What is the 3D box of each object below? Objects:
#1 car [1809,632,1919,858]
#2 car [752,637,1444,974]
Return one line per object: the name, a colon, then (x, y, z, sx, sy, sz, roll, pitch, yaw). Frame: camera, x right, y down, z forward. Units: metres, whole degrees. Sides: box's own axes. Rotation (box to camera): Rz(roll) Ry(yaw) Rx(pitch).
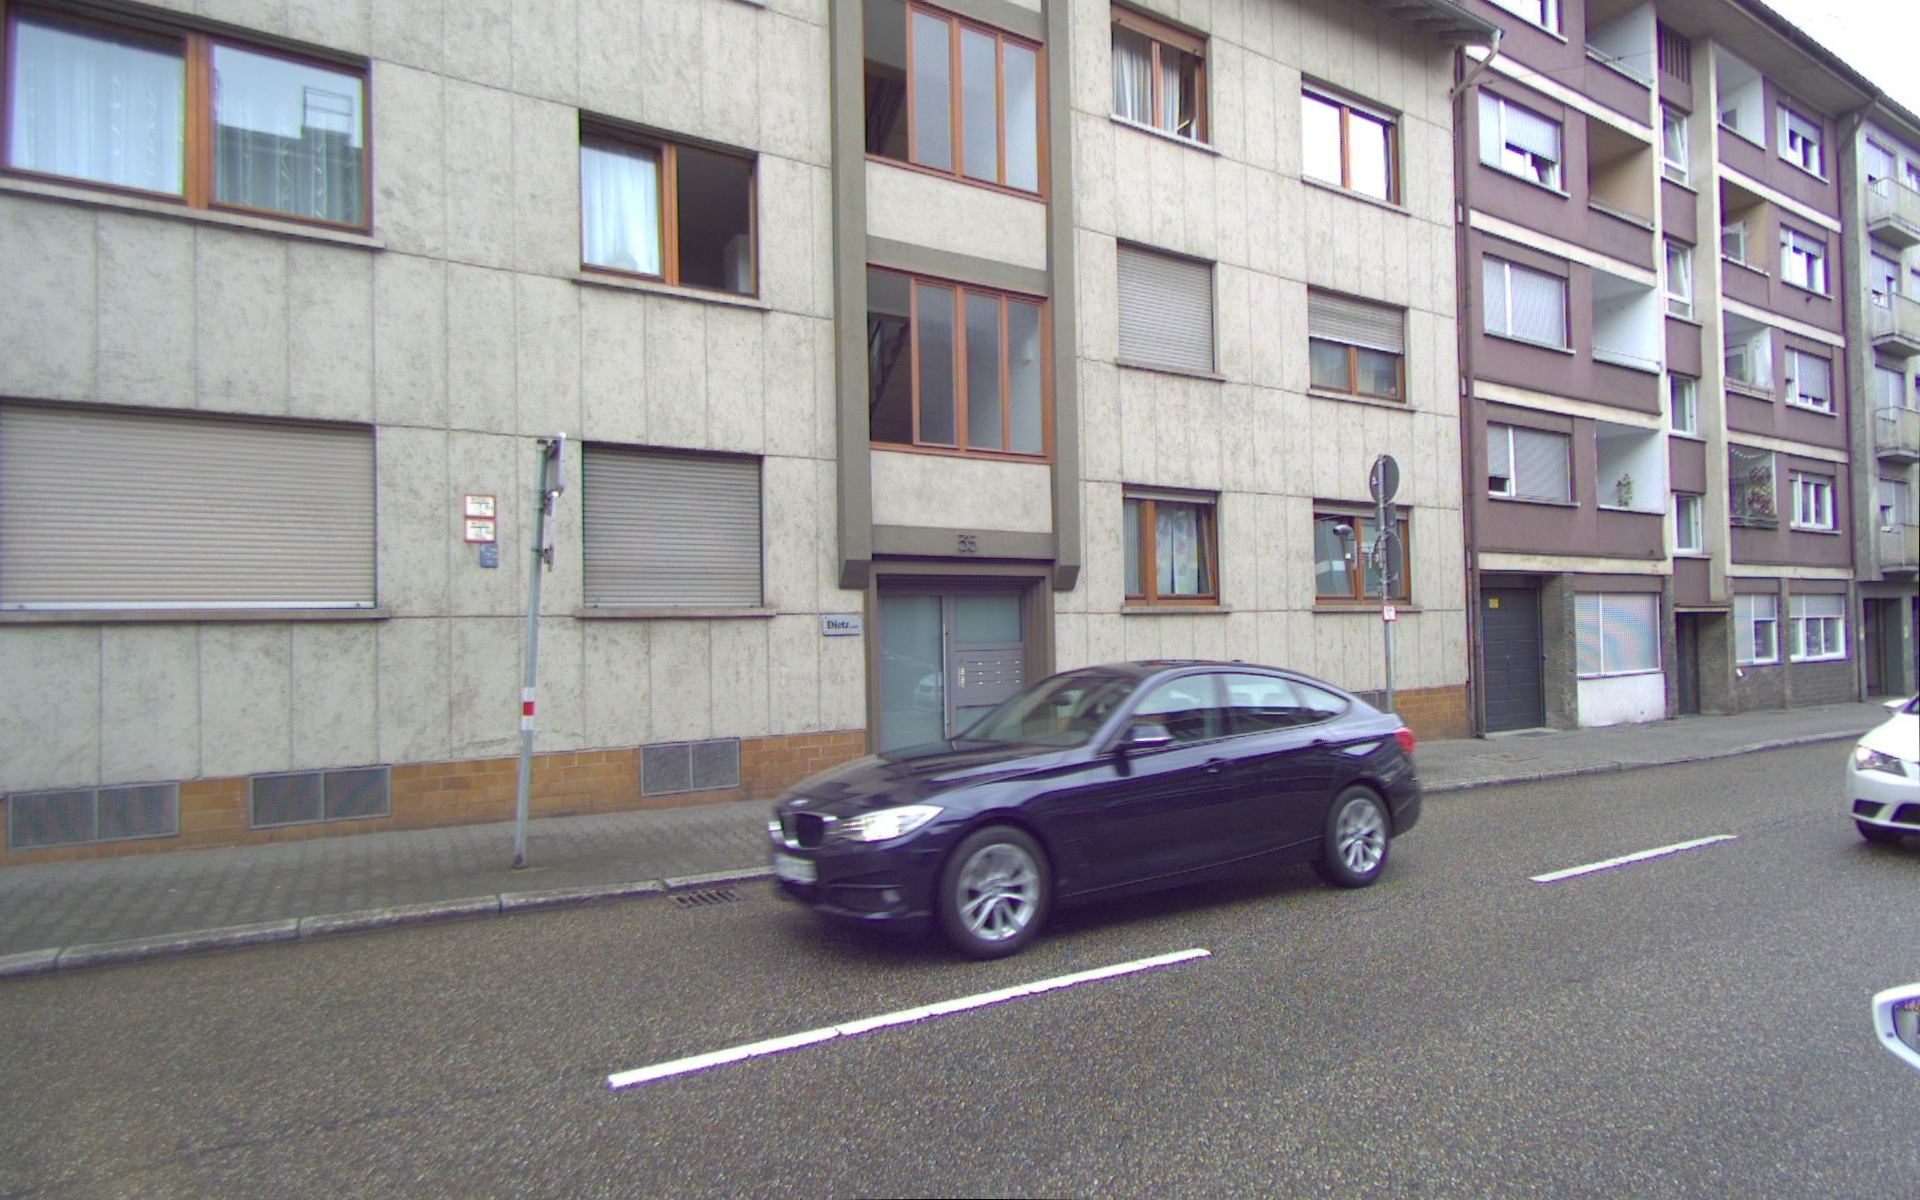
car: (8.505, 1.045, 7.772, 4.007, 1.559, 1.736, 2, -4, -31)
car: (1.027, 1.108, 6.579, 4.386, 1.558, 1.687, 2, -7, -31)
